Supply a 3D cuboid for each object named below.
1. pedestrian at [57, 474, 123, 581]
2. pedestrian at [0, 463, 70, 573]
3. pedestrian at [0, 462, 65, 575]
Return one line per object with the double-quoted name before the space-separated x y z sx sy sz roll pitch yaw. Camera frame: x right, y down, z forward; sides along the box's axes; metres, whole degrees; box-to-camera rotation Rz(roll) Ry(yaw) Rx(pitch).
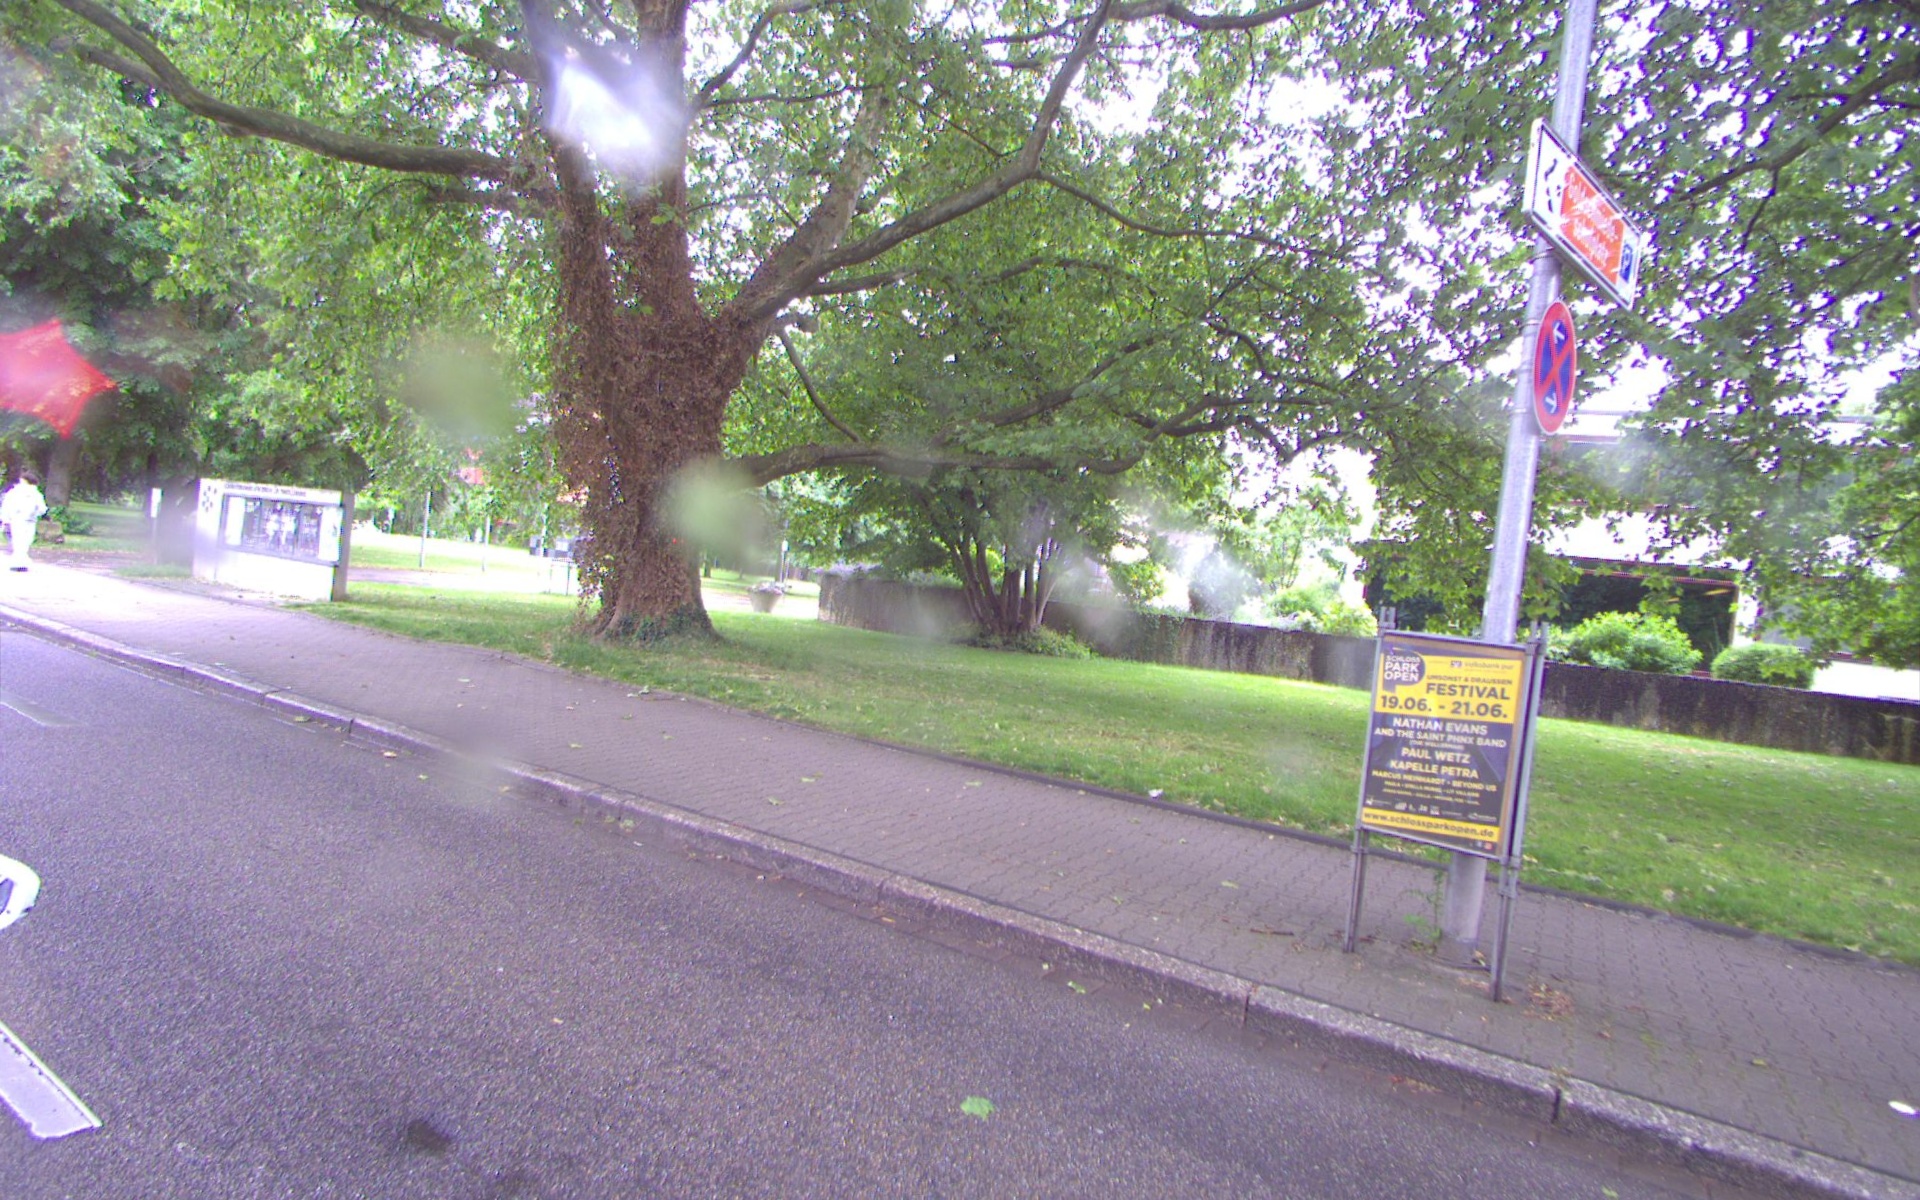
"pedestrian" -16.417 -1.374 19.005 0.650 1.902 1.031 4 4 -27
"pedestrian" -16.990 -1.484 18.245 0.646 1.902 1.037 7 4 21
"pedestrian" -16.459 -1.434 17.701 0.648 1.902 1.033 4 4 -18
